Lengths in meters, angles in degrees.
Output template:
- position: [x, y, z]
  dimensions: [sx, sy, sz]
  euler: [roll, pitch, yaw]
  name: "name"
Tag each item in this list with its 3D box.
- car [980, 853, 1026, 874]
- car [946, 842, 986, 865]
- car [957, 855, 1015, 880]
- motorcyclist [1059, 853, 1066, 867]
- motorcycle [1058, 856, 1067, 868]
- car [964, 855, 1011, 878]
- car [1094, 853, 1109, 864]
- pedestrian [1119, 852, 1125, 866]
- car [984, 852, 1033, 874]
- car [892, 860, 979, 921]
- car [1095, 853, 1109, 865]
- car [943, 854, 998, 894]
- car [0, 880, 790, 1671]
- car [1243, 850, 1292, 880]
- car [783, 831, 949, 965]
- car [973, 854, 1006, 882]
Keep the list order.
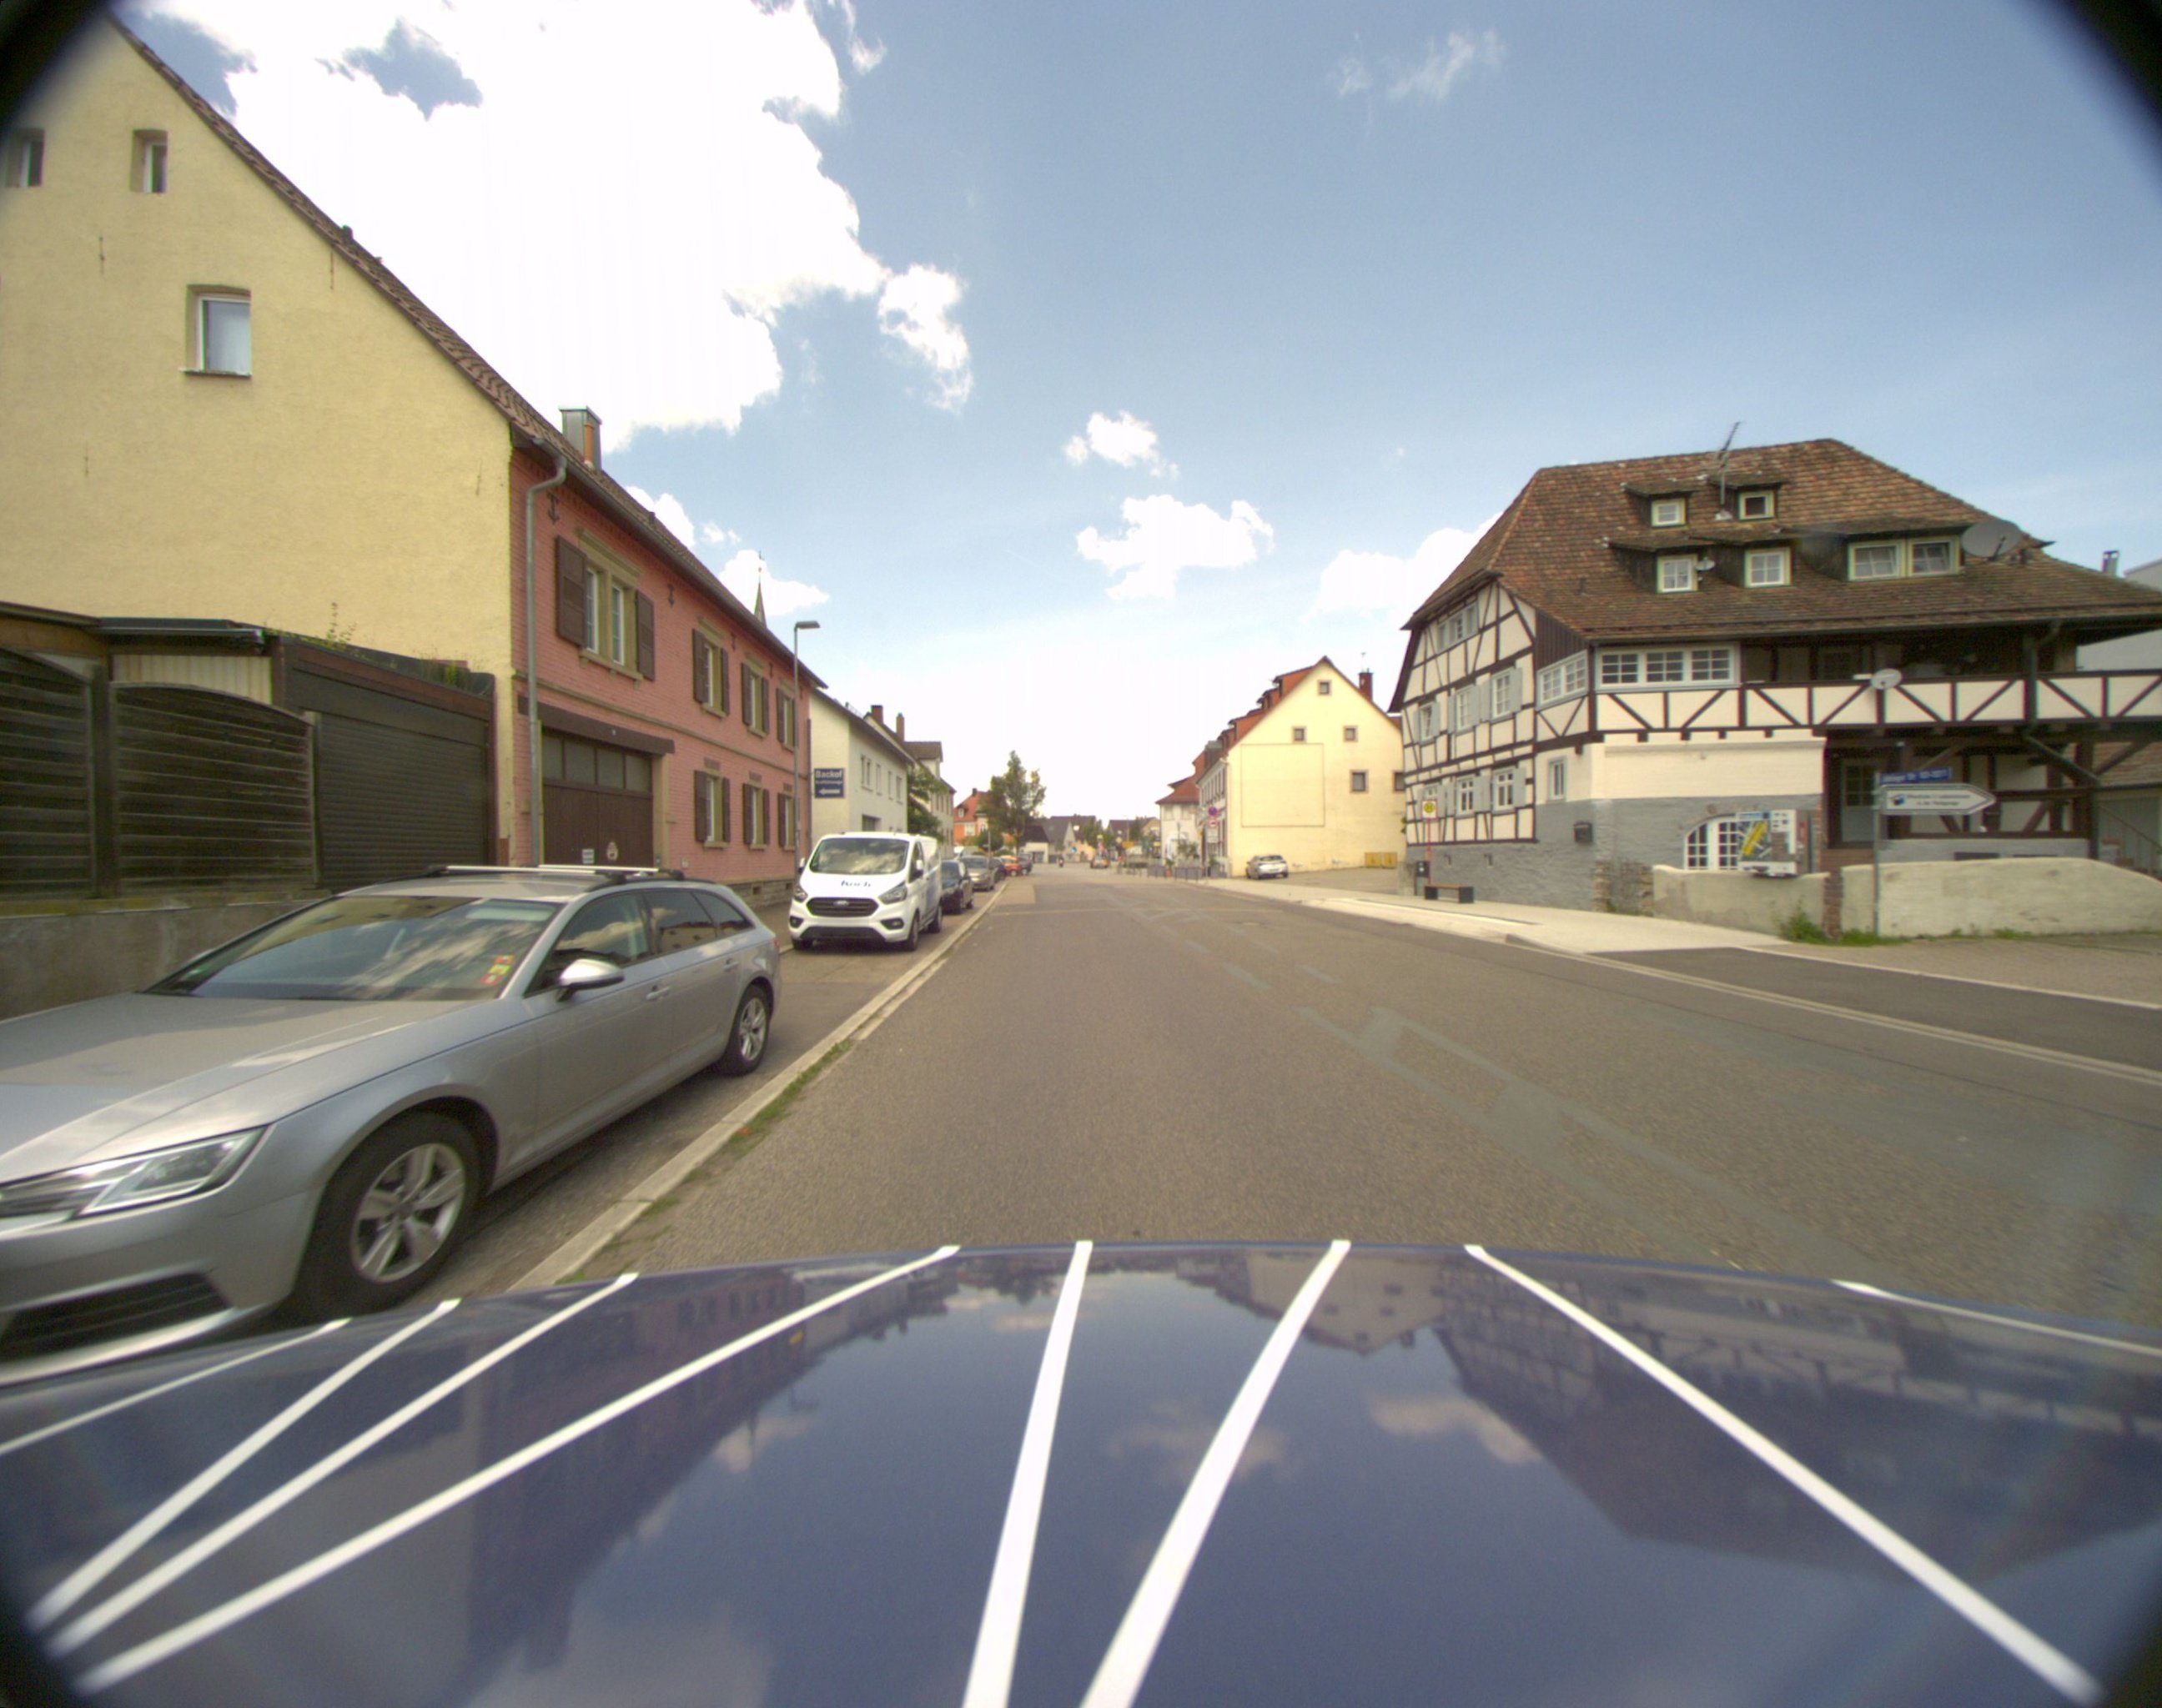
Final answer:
- position: [-6.028, 0.740, 58.906]
  dimensions: [3.386, 1.568, 1.726]
  euler: [1, 0, -2]
  name: "car"
- position: [-15.662, -0.117, 103.875]
  dimensions: [2.756, 2.946, 7.121]
  euler: [1, 1, 16]
  name: "car"
- position: [-6.215, 0.880, 49.705]
  dimensions: [3.242, 1.496, 1.822]
  euler: [2, 0, -28]
  name: "car"
- position: [-2.711, 0.880, 112.703]
  dimensions: [1.048, 1.935, 1.248]
  euler: [1, 1, 1]
  name: "motorcyclist"
- position: [-2.779, 1.217, 113.173]
  dimensions: [1.133, 1.609, 3.999]
  euler: [1, 1, 1]
  name: "motorcycle"
- position: [-6.466, 0.858, 52.533]
  dimensions: [2.792, 1.496, 1.874]
  euler: [0, 0, -25]
  name: "car"
- position: [2.691, 0.596, 100.285]
  dimensions: [1.820, 1.415, 4.538]
  euler: [0, 0, 3]
  name: "car"
- position: [4.563, 0.545, 84.464]
  dimensions: [0.640, 1.619, 0.620]
  euler: [0, 1, 1]
  name: "pedestrian"
- position: [-5.827, 0.727, 61.405]
  dimensions: [3.860, 1.569, 1.849]
  euler: [2, 3, -5]
  name: "car"
- position: [-4.025, 0.964, 21.648]
  dimensions: [1.779, 1.486, 4.161]
  euler: [1, 0, -2]
  name: "car"
- position: [2.621, 0.630, 95.474]
  dimensions: [1.672, 1.466, 3.963]
  euler: [0, 0, 0]
  name: "car"
- position: [-4.947, 0.859, 34.575]
  dimensions: [1.999, 1.671, 4.322]
  euler: [0, 0, -2]
  name: "car"
- position: [-3.261, 0.960, 3.855]
  dimensions: [1.880, 1.473, 4.673]
  euler: [0, 0, -2]
  name: "car"
- position: [10.973, 0.608, 44.952]
  dimensions: [1.762, 1.484, 4.275]
  euler: [-5, 1, 1]
  name: "car"
- position: [-3.668, 0.662, 13.928]
  dimensions: [1.897, 1.970, 4.928]
  euler: [2, 0, -4]
  name: "car"
- position: [-5.492, 0.797, 45.922]
  dimensions: [1.667, 1.615, 4.270]
  euler: [0, 0, -3]
  name: "car"
